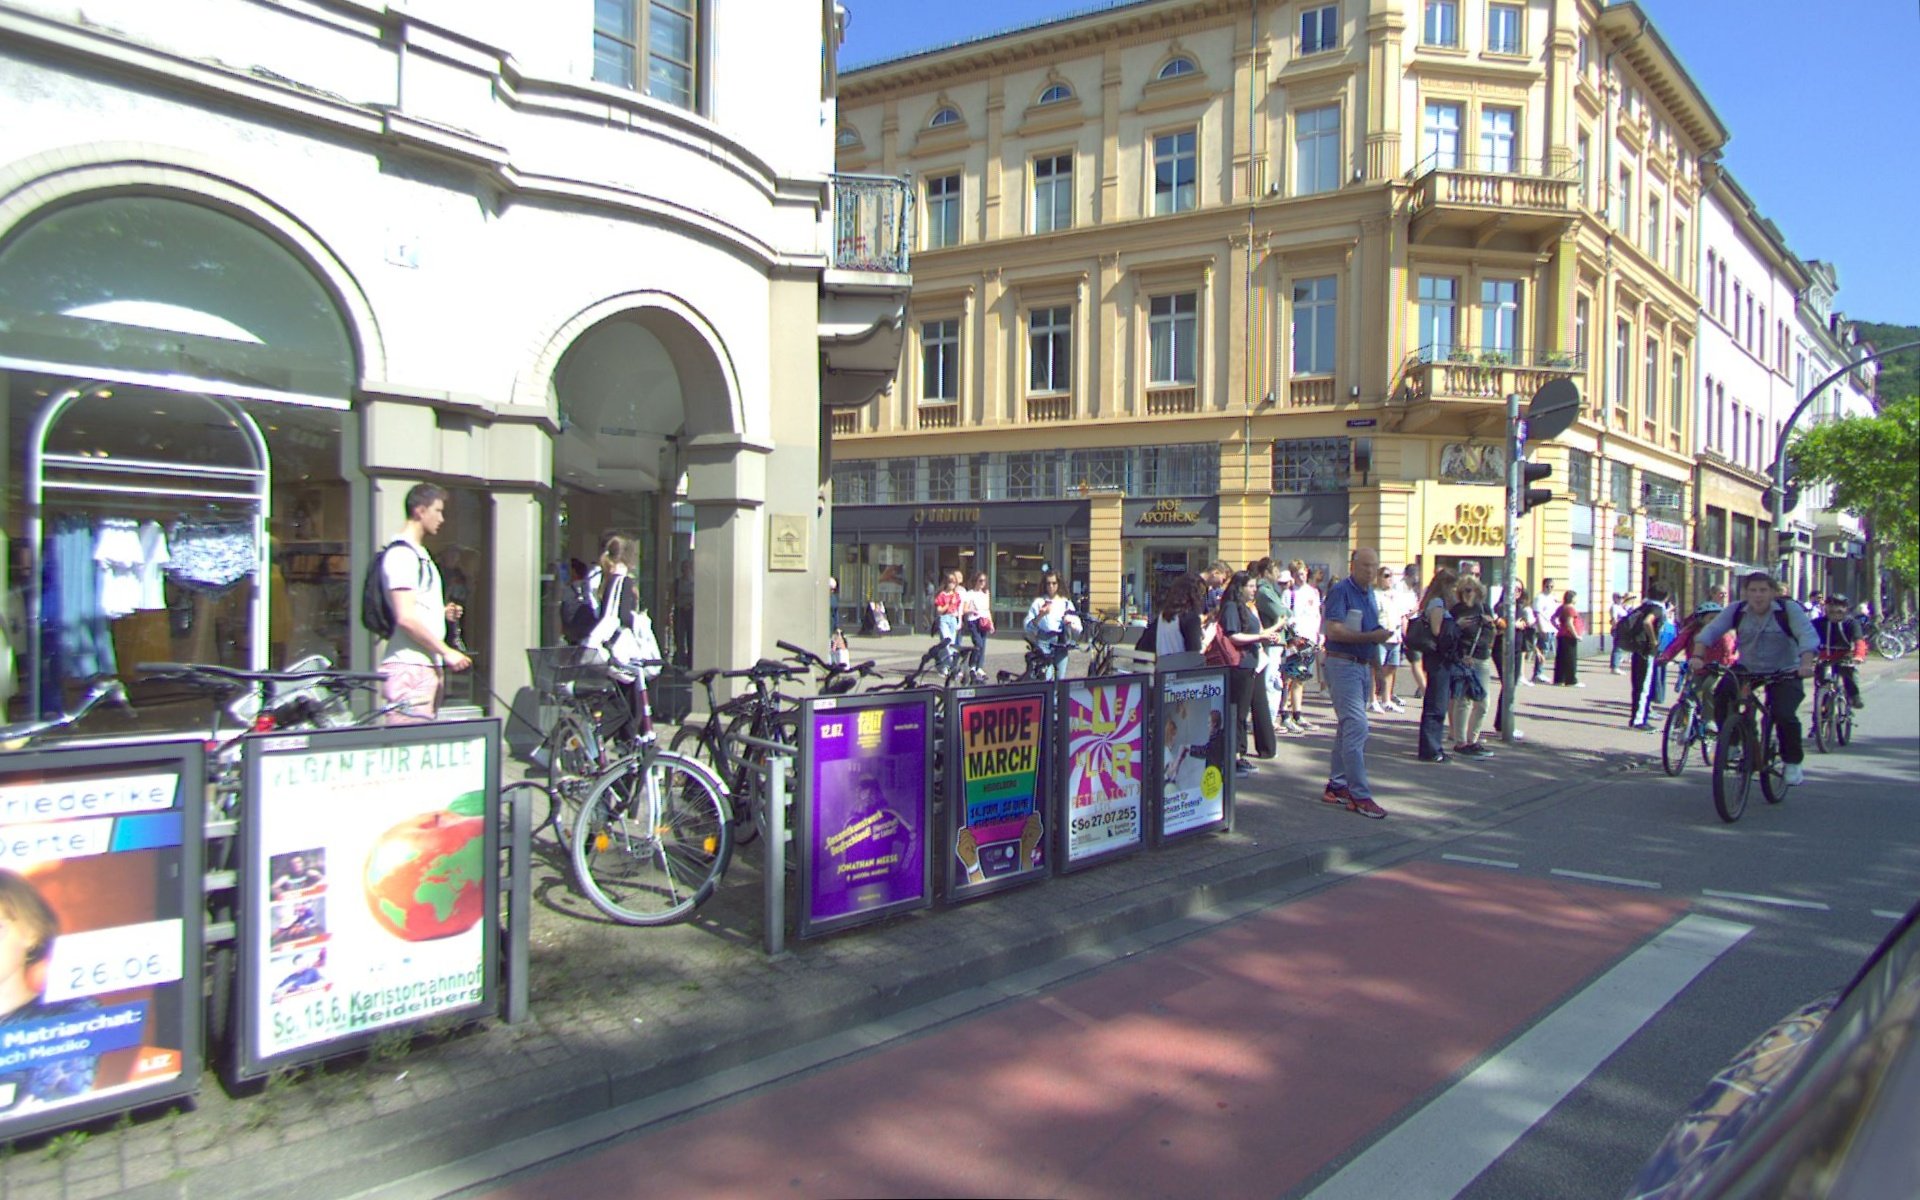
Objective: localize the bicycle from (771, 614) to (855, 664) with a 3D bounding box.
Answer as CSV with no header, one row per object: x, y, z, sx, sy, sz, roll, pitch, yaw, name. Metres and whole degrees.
-2.744,0.716,18.733,1.802,0.895,0.411,-2,-1,39,bicycle

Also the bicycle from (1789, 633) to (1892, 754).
9.360,0.939,10.737,1.867,1.107,0.665,-1,-1,-45,bicycle

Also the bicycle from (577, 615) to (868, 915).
-1.217,0.678,4.917,0.583,1.161,1.754,0,0,-43,bicycle

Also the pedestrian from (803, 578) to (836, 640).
-3.689,0.225,26.592,0.611,1.610,0.577,0,-1,-41,pedestrian

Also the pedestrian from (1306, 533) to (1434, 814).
2.920,0.488,7.198,0.706,1.869,0.577,0,-1,-45,pedestrian

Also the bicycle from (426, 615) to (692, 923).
-1.971,0.678,4.833,0.583,1.173,1.754,0,0,-43,bicycle

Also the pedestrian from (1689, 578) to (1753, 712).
10.376,0.599,13.791,0.576,1.752,0.708,3,1,41,pedestrian

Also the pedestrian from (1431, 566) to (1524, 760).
4.787,0.550,9.364,0.581,1.705,0.568,0,2,-45,pedestrian

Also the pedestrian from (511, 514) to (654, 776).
-2.803,0.309,7.505,0.764,1.805,0.719,0,-1,-44,pedestrian

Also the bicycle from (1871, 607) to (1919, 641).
33.553,0.855,35.920,0.583,1.161,1.754,0,0,-43,bicycle

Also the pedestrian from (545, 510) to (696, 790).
-2.304,0.316,6.866,0.741,1.762,0.675,0,-1,-44,pedestrian

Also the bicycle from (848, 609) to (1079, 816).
-0.025,0.653,6.605,0.514,1.161,1.657,0,0,-43,bicycle

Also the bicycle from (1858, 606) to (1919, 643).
29.897,0.772,32.362,0.583,1.161,1.754,0,0,-43,bicycle

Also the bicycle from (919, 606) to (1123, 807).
0.375,0.657,6.926,0.418,1.212,1.530,0,0,-43,bicycle

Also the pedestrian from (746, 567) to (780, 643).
-4.947,0.127,25.377,0.611,1.869,0.577,0,-1,-41,pedestrian

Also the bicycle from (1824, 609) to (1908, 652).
25.711,0.842,28.736,0.583,1.161,1.754,0,0,-43,bicycle

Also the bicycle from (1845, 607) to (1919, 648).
28.259,0.827,30.951,0.583,1.161,1.754,0,0,-43,bicycle

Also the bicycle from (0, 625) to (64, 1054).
-3.424,0.696,3.392,0.583,1.161,1.754,0,0,-43,bicycle

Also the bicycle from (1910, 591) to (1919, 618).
42.065,0.211,43.503,0.583,1.161,1.754,0,0,-43,bicycle

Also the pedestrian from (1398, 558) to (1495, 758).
4.353,0.494,9.058,0.612,1.706,0.577,0,-1,-45,pedestrian

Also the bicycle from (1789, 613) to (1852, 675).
17.758,0.885,20.925,0.732,1.106,1.875,4,3,34,bicycle

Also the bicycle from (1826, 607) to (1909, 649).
26.321,0.792,29.375,0.583,1.161,1.754,0,0,-43,bicycle

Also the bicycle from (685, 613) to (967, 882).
-0.772,0.673,5.374,0.583,1.161,1.754,0,0,-43,bicycle

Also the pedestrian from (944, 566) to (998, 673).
0.194,0.323,17.334,0.687,1.777,0.577,0,-1,-41,pedestrian

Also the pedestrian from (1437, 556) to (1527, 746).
5.209,0.477,10.094,0.688,1.807,0.577,0,2,-45,pedestrian

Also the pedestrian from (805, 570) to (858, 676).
-1.975,0.347,15.600,0.572,1.589,0.586,-2,-1,26,pedestrian

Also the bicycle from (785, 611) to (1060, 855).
-0.277,0.665,5.818,0.583,1.161,1.754,0,0,-43,bicycle

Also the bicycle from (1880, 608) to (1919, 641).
34.407,0.898,36.533,0.583,1.161,1.754,0,0,-43,bicycle

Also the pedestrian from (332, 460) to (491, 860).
-2.838,0.287,5.231,0.593,1.906,0.545,0,-1,-44,pedestrian

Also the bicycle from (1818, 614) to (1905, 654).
24.903,0.924,27.976,0.583,1.048,1.754,0,1,-43,bicycle

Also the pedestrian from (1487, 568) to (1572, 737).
6.007,0.523,10.671,0.658,1.705,0.577,0,2,-45,pedestrian

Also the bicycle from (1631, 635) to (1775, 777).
6.739,0.899,9.144,1.789,1.107,0.734,0,-1,-44,bicycle

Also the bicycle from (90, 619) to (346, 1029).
-2.871,0.679,3.840,0.583,1.161,1.754,0,0,-43,bicycle

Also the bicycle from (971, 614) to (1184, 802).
0.786,0.701,7.198,0.418,1.161,1.630,0,0,-43,bicycle

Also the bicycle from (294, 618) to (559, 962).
-2.382,0.683,4.406,0.583,1.161,1.754,0,0,-43,bicycle

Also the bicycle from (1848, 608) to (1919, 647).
28.793,0.849,31.445,0.583,1.161,1.754,0,0,-43,bicycle

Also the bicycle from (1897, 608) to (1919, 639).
37.114,0.922,38.787,0.583,1.161,1.754,0,0,-43,bicycle

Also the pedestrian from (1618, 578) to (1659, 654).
15.464,0.347,23.075,0.686,1.706,0.569,0,0,45,pedestrian

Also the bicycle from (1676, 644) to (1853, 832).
5.849,0.911,7.318,1.866,1.107,0.734,-1,-1,-44,bicycle

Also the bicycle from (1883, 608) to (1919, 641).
35.107,0.900,37.174,0.583,1.161,1.754,0,0,-43,bicycle

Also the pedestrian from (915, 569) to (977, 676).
-0.233,0.352,16.298,0.611,1.668,0.797,0,-1,-41,pedestrian

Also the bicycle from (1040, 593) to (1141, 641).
3.299,0.433,25.649,2.393,1.166,0.775,-1,-1,25,bicycle
